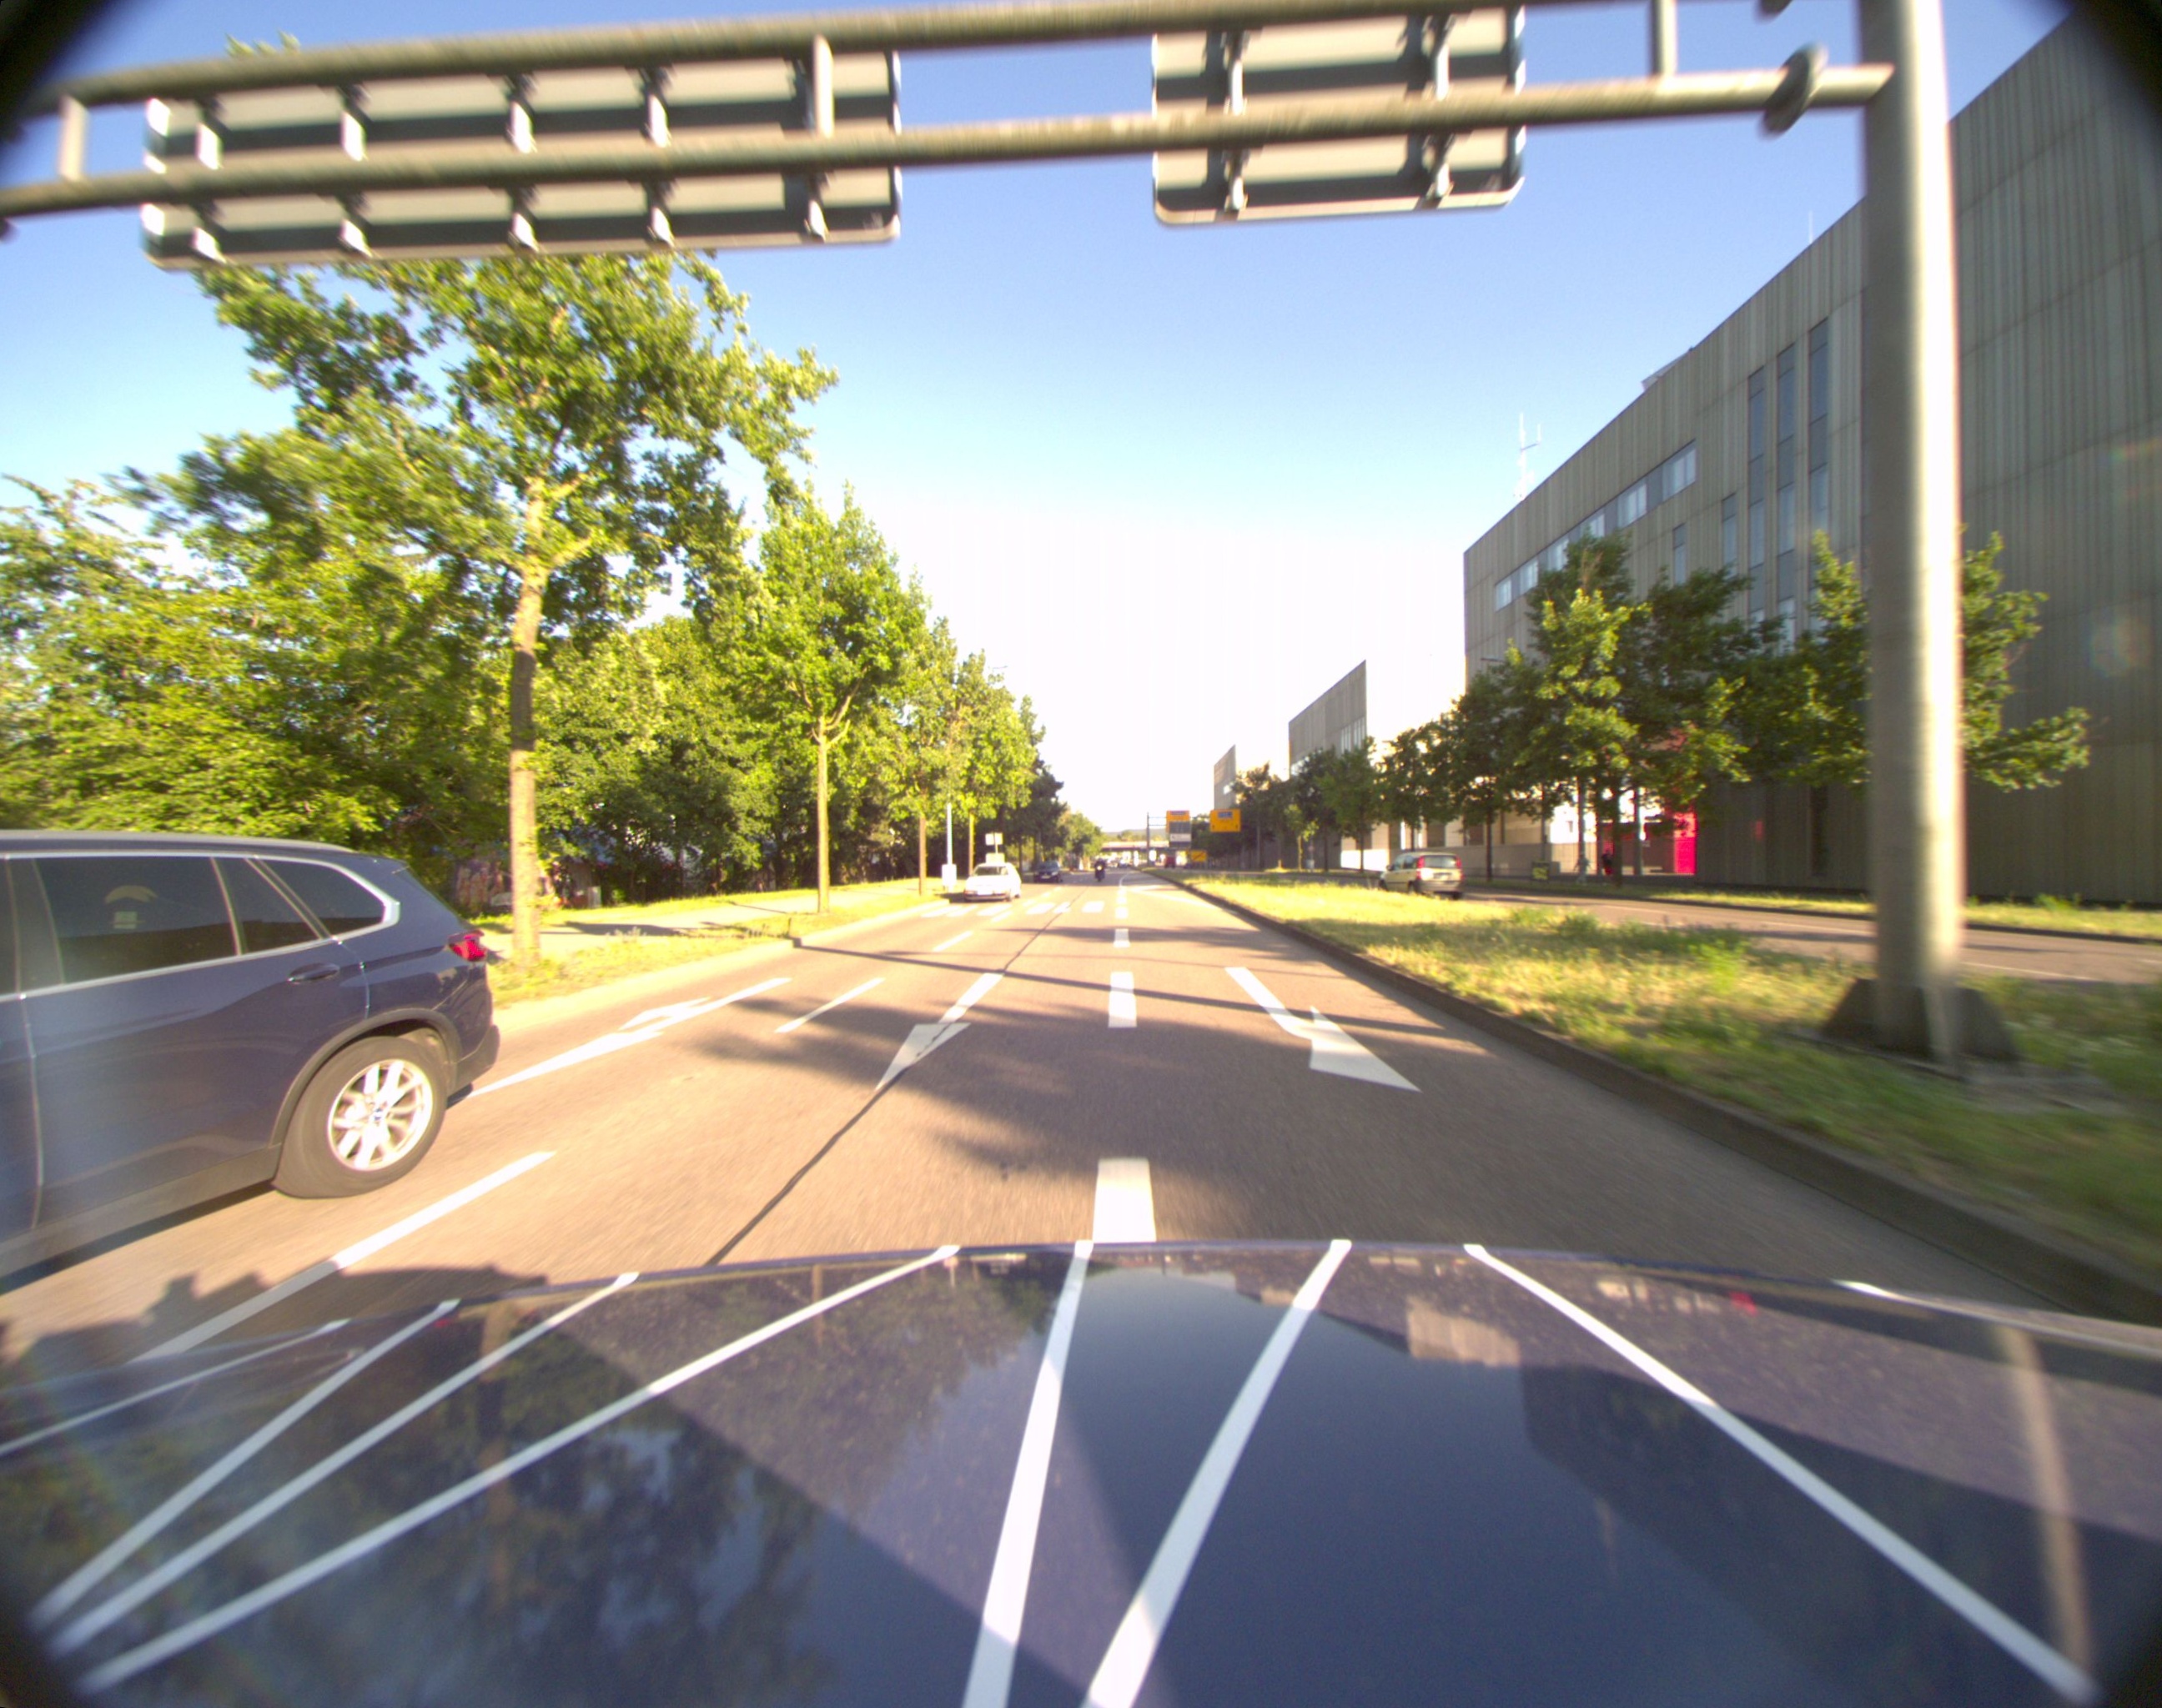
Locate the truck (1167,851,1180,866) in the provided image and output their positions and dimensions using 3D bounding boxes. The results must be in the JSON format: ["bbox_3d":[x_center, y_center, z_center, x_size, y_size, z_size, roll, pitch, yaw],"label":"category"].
[{"bbox_3d":[23.668,1.162,193.834,3.004,3.788,10.094,-1,0,6],"label":"truck"}]

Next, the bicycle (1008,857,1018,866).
[{"bbox_3d":[-7.118,0.771,79.746,0.618,0.968,2.059,-1,0,5],"label":"bicycle"}]

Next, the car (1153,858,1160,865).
[{"bbox_3d":[21.041,2.066,212.505,1.998,1.805,4.403,0,0,4],"label":"car"}]

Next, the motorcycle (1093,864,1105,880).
[{"bbox_3d":[1.170,1.127,49.137,0.748,0.977,2.141,-1,0,2],"label":"motorcycle"}]

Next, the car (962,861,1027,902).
[{"bbox_3d":[-3.153,1.010,28.498,1.614,1.390,4.040,-1,-1,5],"label":"car"}]

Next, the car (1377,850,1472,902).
[{"bbox_3d":[11.094,0.657,24.758,1.566,1.565,3.412,-1,0,0],"label":"car"}]

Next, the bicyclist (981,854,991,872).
[{"bbox_3d":[-7.873,0.727,63.109,0.614,1.493,0.848,-1,0,5],"label":"bicyclist"}]

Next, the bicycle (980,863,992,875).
[{"bbox_3d":[-7.869,1.228,63.125,0.618,0.968,1.822,-1,0,5],"label":"bicycle"}]

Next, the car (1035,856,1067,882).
[{"bbox_3d":[-1.923,0.948,49.457,1.725,1.490,4.214,-2,0,2],"label":"car"}]

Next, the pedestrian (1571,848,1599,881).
[{"bbox_3d":[24.897,0.527,37.561,0.778,1.592,0.909,-1,0,4],"label":"pedestrian"}]

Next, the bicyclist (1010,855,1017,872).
[{"bbox_3d":[-7.101,0.976,79.957,0.604,1.723,0.848,-1,0,5],"label":"bicyclist"}]

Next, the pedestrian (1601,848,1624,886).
[{"bbox_3d":[25.728,0.630,36.773,0.634,1.830,0.717,-1,0,4],"label":"pedestrian"}]

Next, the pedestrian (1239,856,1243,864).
[{"bbox_3d":[32.453,1.203,154.122,0.604,1.757,0.649,-1,0,4],"label":"pedestrian"}]

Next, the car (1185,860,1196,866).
[{"bbox_3d":[24.885,2.019,173.035,1.600,1.503,3.866,-1,0,-3],"label":"car"}]

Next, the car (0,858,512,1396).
[{"bbox_3d":[-4.512,0.928,2.217,1.959,1.717,4.700,-2,0,3],"label":"car"}]

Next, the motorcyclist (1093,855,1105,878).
[{"bbox_3d":[1.172,0.802,49.348,0.734,1.503,0.919,0,0,2],"label":"motorcyclist"}]
